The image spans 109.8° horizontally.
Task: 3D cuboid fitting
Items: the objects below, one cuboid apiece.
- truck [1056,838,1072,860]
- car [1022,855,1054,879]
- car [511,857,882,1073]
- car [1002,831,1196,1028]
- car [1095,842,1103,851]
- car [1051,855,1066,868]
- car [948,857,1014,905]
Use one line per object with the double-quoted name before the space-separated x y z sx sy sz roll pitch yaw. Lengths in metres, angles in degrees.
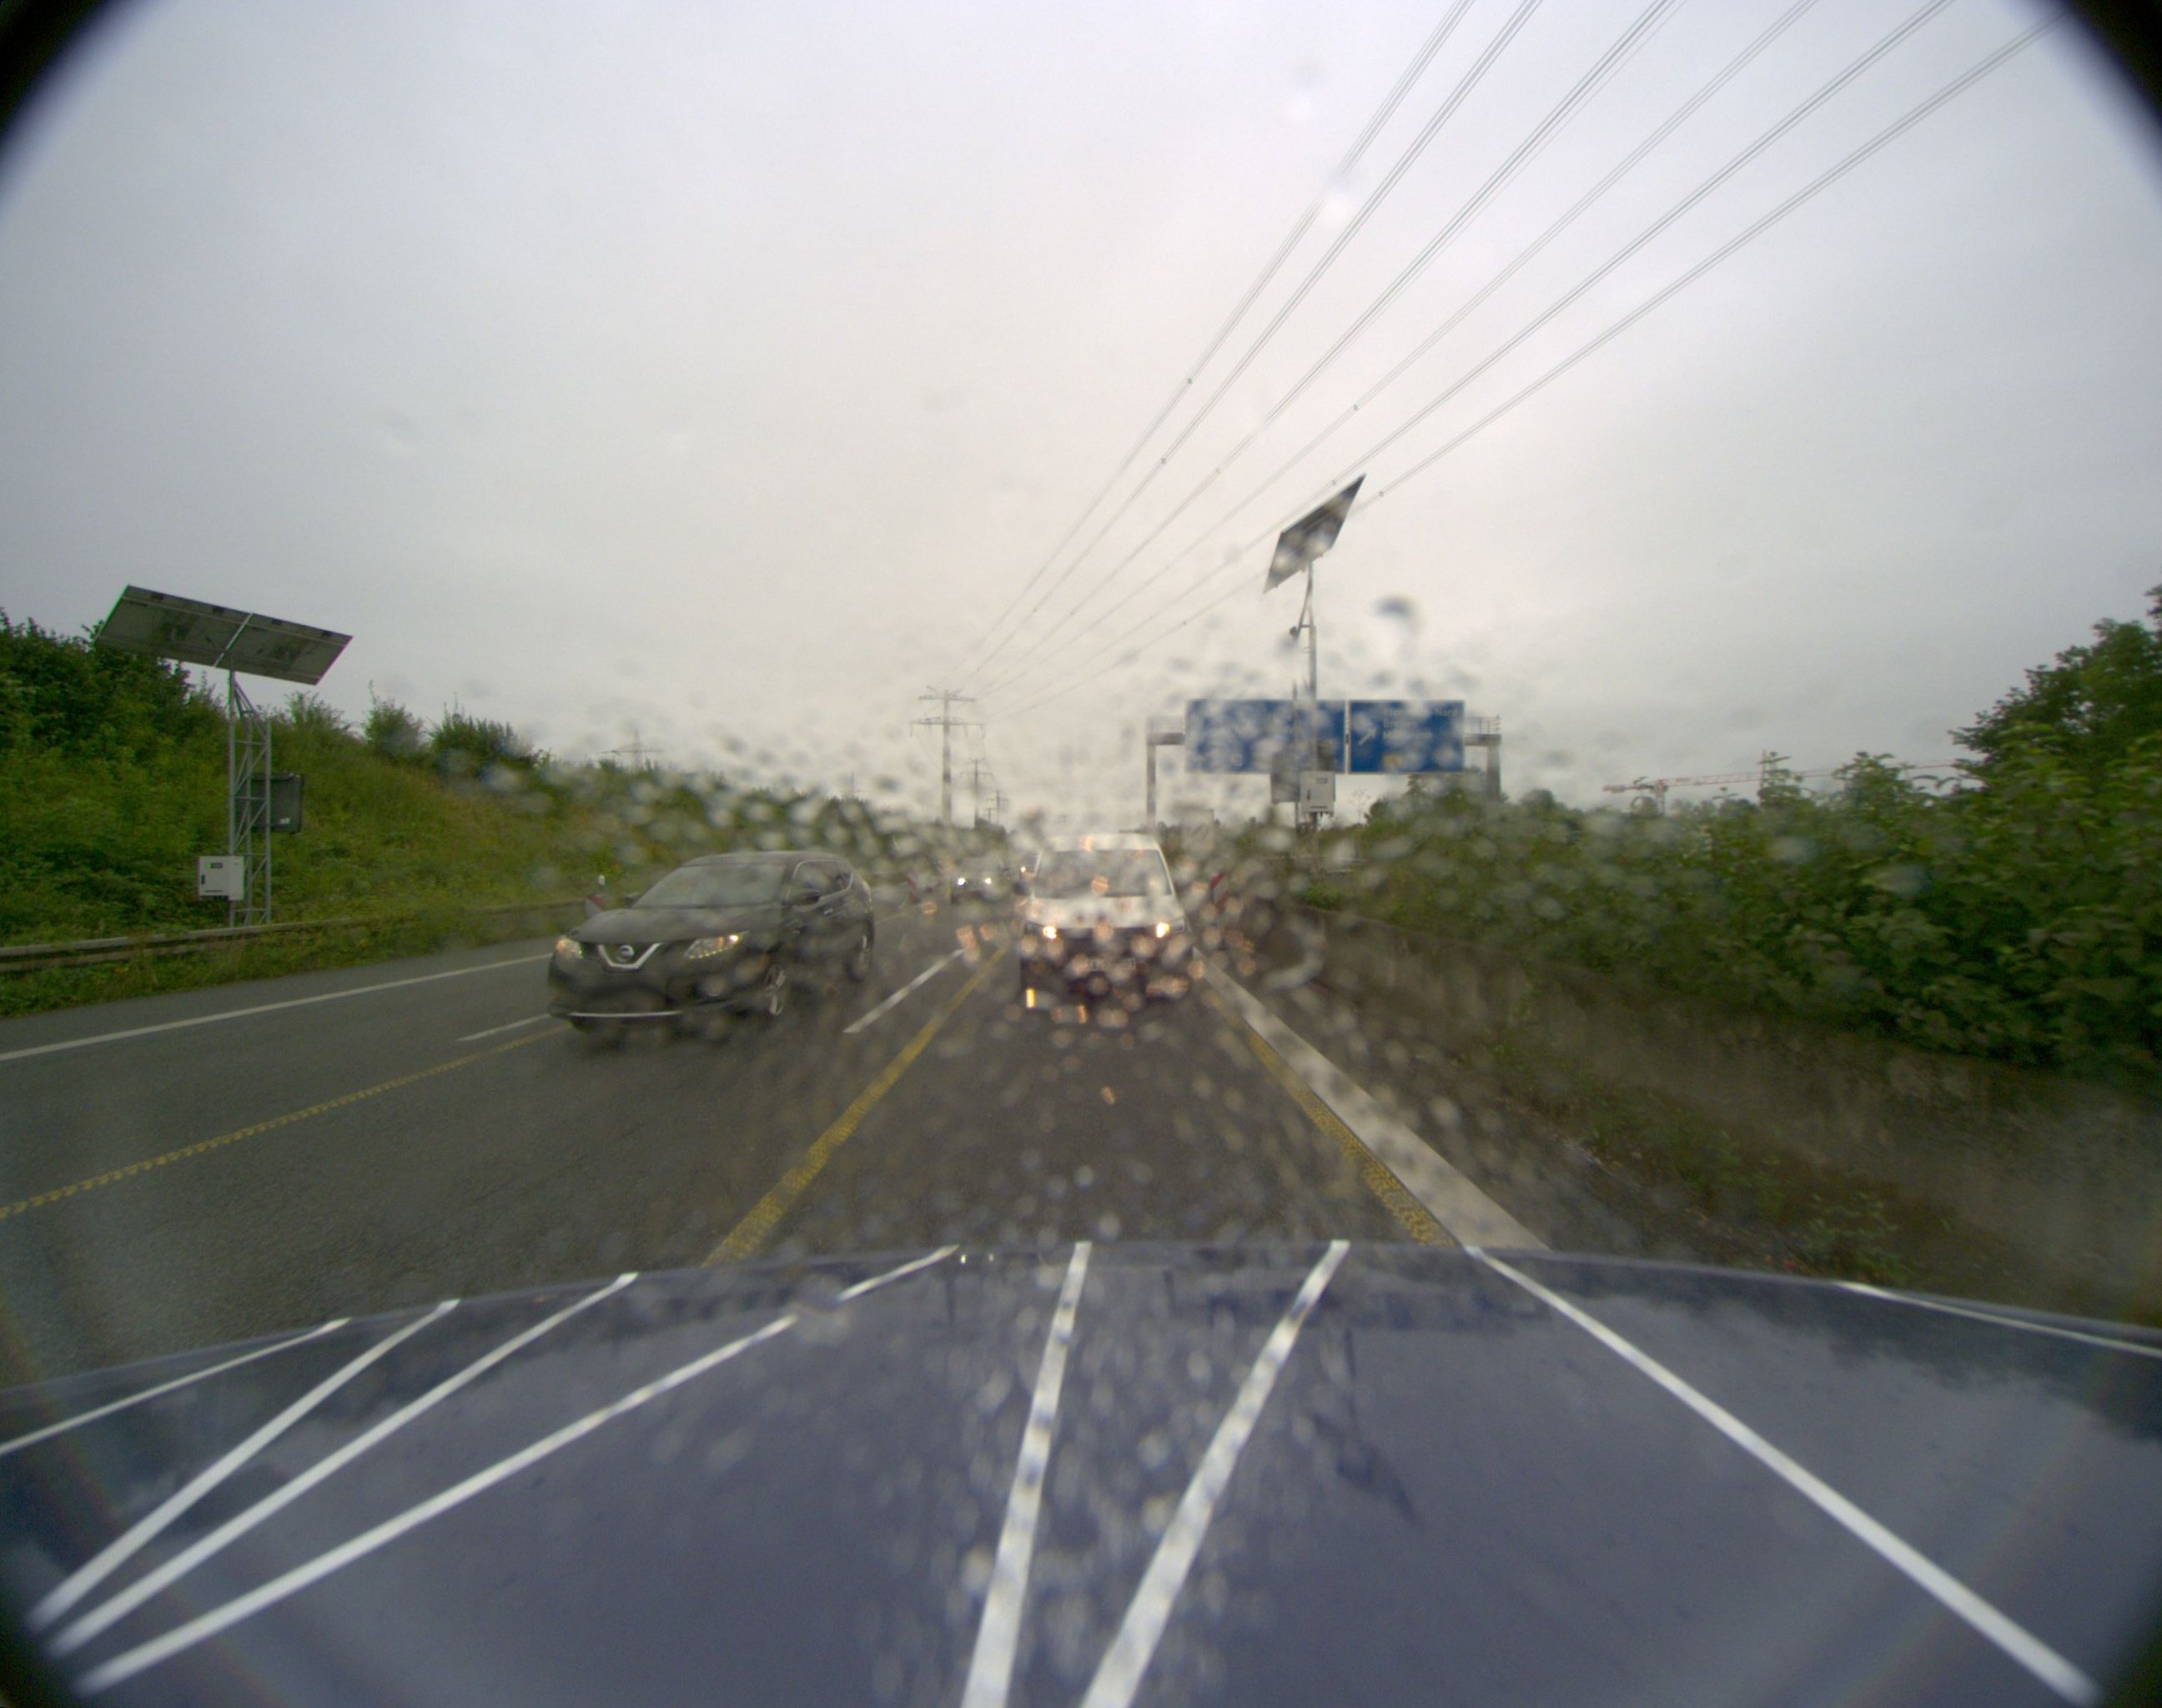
"truck" -3.273 -1.002 147.654 2.875 4.007 8.308 -1 0 1
"car" -2.715 0.789 48.691 1.804 1.432 4.149 -2 0 -1
"car" -3.616 0.889 8.172 1.688 1.649 4.281 -1 0 1
"car" 0.190 0.699 9.293 1.768 1.803 4.345 -2 0 0
"car" 4.444 -1.827 184.171 1.785 2.002 4.000 -2 1 1
"car" -2.860 0.936 96.114 1.804 1.598 4.149 -2 0 -1
"car" -3.493 0.898 27.186 1.804 1.523 4.149 -2 0 -1
